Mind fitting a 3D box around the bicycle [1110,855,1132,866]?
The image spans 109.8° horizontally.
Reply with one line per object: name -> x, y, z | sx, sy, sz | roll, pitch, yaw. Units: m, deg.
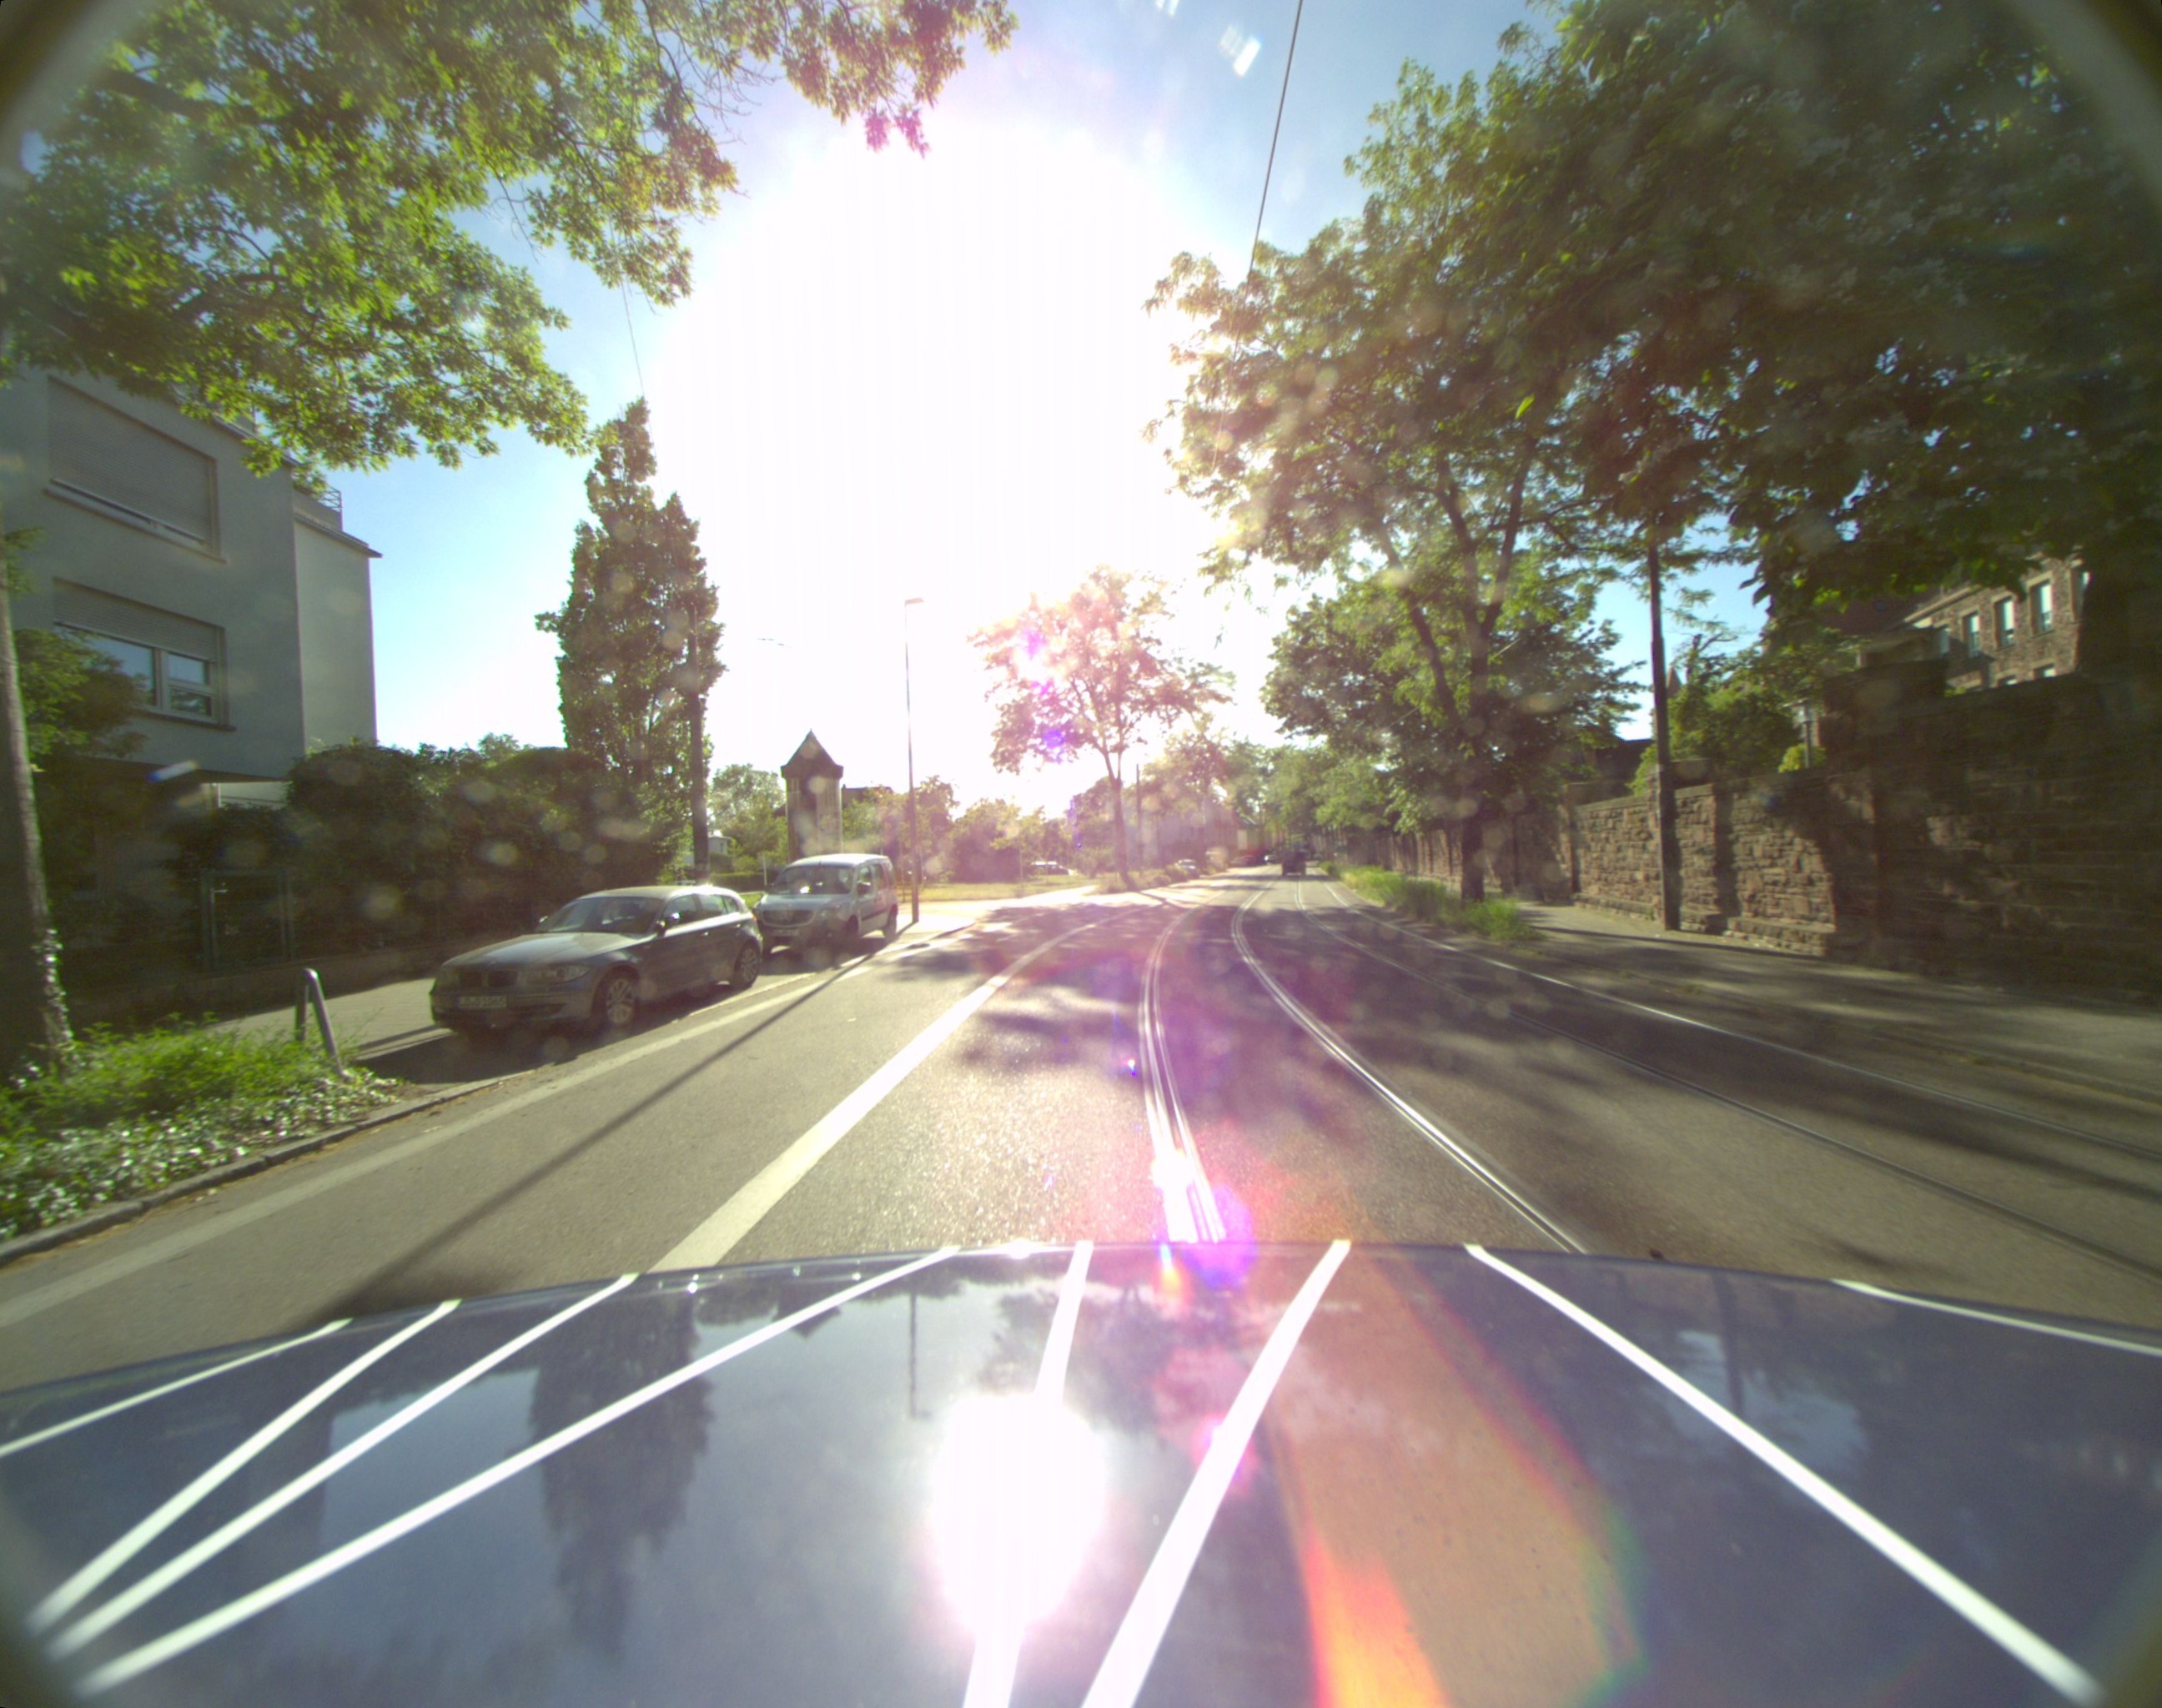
bicycle -> 5.060, 0.789, 95.371 | 2.662, 1.224, 0.800 | -2, -1, 0

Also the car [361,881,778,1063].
car -> -5.547, 1.164, 9.124 | 1.998, 1.414, 4.332 | -2, 0, 0

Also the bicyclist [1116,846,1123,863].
bicyclist -> 4.834, 0.090, 95.399 | 0.850, 2.001, 0.826 | -3, -1, 2

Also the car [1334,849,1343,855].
car -> 71.217, -0.554, 210.029 | 1.995, 1.474, 4.007 | -2, 0, 26

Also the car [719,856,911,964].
car -> -4.988, 0.952, 15.105 | 2.027, 1.736, 4.752 | -2, 0, 1

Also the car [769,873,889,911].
car -> -10.831, 1.618, 32.931 | 4.522, 1.361, 1.968 | -2, 0, -2

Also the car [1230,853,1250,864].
car -> 23.147, 0.631, 110.445 | 1.739, 1.487, 4.537 | -3, 0, 25

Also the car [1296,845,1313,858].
car -> 47.254, -0.516, 160.577 | 2.293, 2.574, 5.728 | -3, 0, 26

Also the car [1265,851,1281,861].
car -> 33.210, 0.295, 131.398 | 1.877, 1.509, 4.656 | -3, 0, 24

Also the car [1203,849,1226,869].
car -> 14.280, 0.501, 81.131 | 1.996, 2.083, 4.721 | -2, 0, 14

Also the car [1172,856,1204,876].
car -> 9.033, 0.961, 63.557 | 2.003, 1.457, 5.438 | 1, 1, 15

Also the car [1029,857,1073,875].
car -> -3.656, 1.456, 92.713 | 5.210, 1.874, 2.100 | -3, 0, -2

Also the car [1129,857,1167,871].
car -> 8.224, 1.220, 93.237 | 4.460, 1.482, 2.007 | -2, 3, -2

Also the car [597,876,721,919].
car -> -18.275, 1.868, 33.000 | 4.290, 1.502, 1.840 | -2, 2, 4

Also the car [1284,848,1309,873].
car -> 16.474, 0.458, 58.196 | 1.635, 1.781, 4.342 | -2, 0, 14
